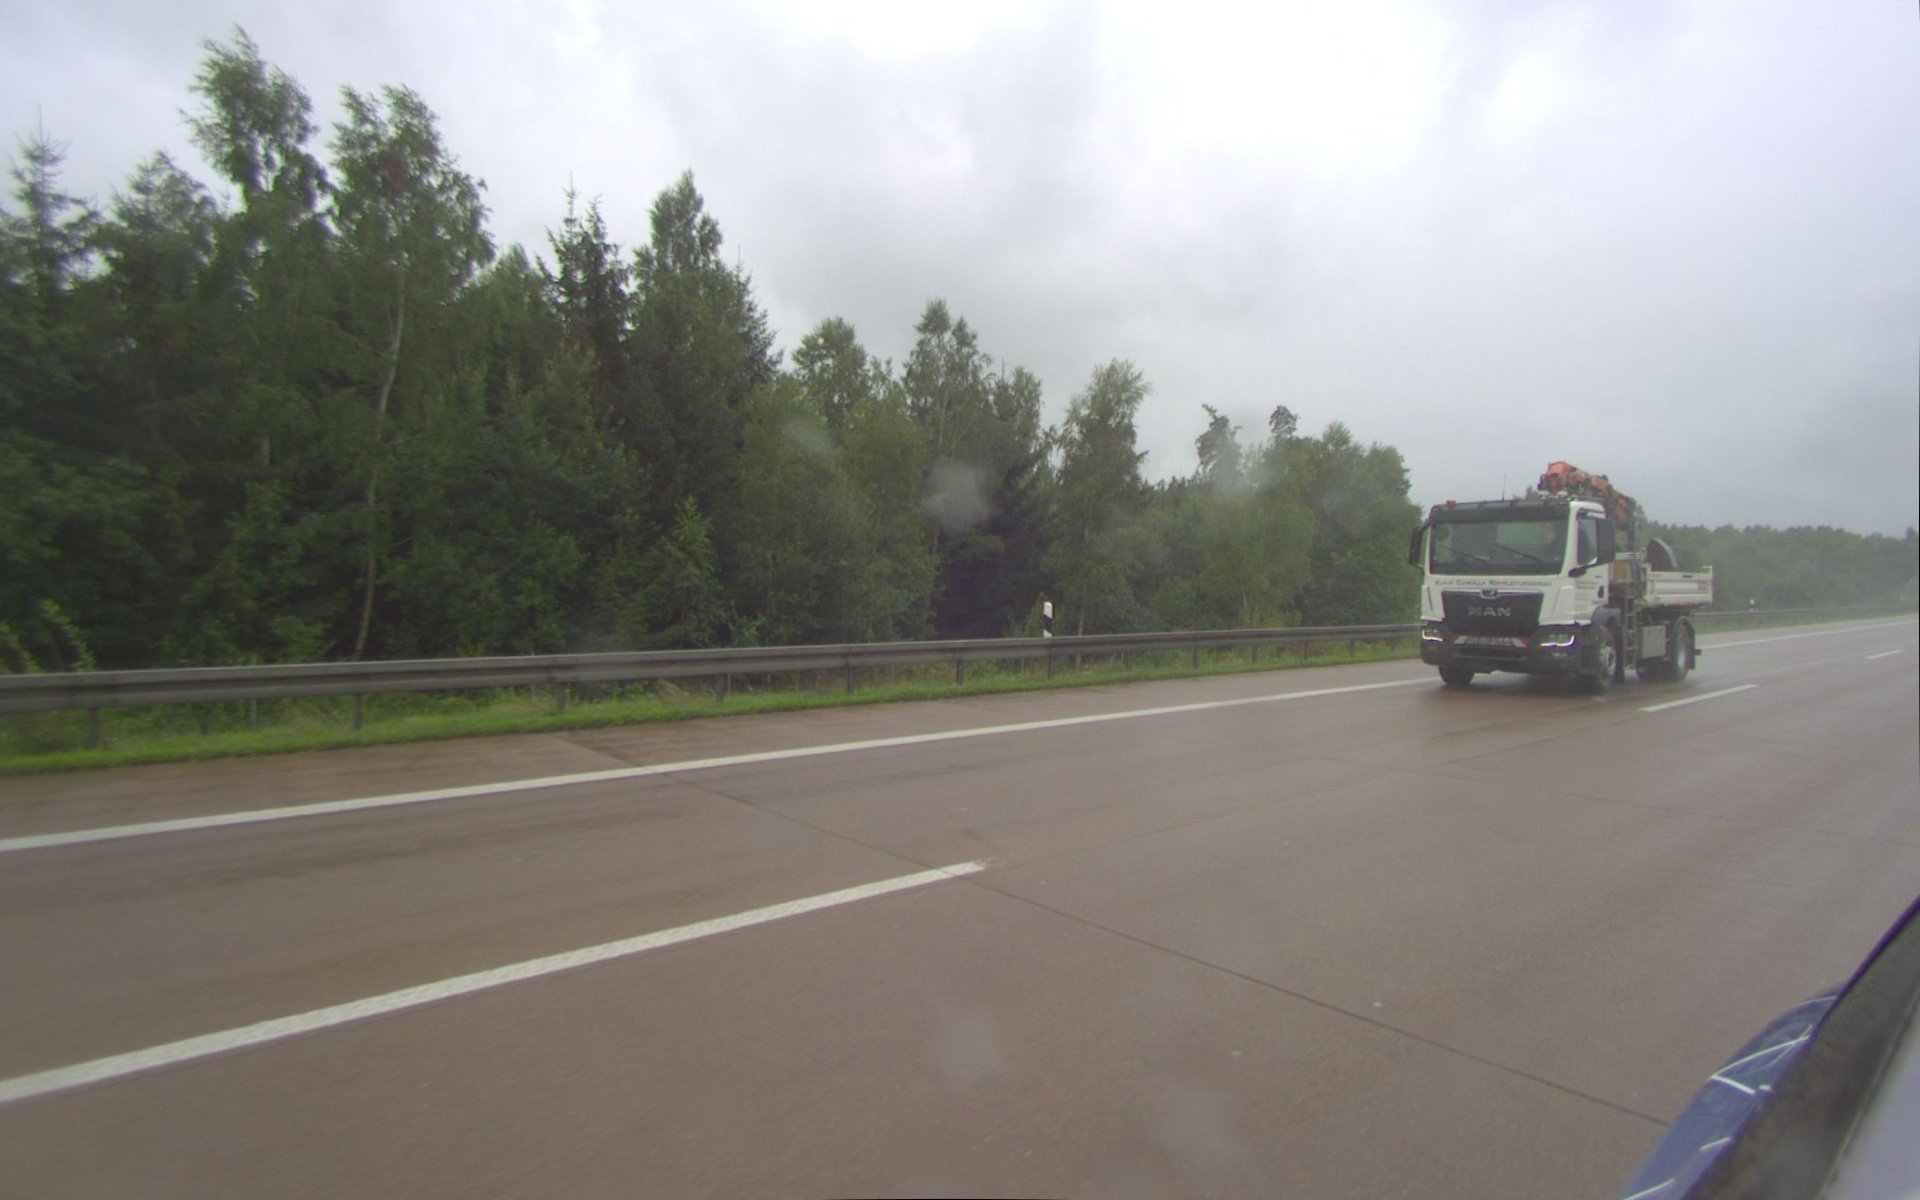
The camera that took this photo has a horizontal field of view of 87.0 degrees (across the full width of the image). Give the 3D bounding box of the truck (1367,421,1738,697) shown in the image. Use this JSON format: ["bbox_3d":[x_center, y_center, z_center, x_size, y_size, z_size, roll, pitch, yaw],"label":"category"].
[{"bbox_3d":[10.579,-0.586,17.649,7.814,3.777,3.240,0,0,-41],"label":"truck"}]
